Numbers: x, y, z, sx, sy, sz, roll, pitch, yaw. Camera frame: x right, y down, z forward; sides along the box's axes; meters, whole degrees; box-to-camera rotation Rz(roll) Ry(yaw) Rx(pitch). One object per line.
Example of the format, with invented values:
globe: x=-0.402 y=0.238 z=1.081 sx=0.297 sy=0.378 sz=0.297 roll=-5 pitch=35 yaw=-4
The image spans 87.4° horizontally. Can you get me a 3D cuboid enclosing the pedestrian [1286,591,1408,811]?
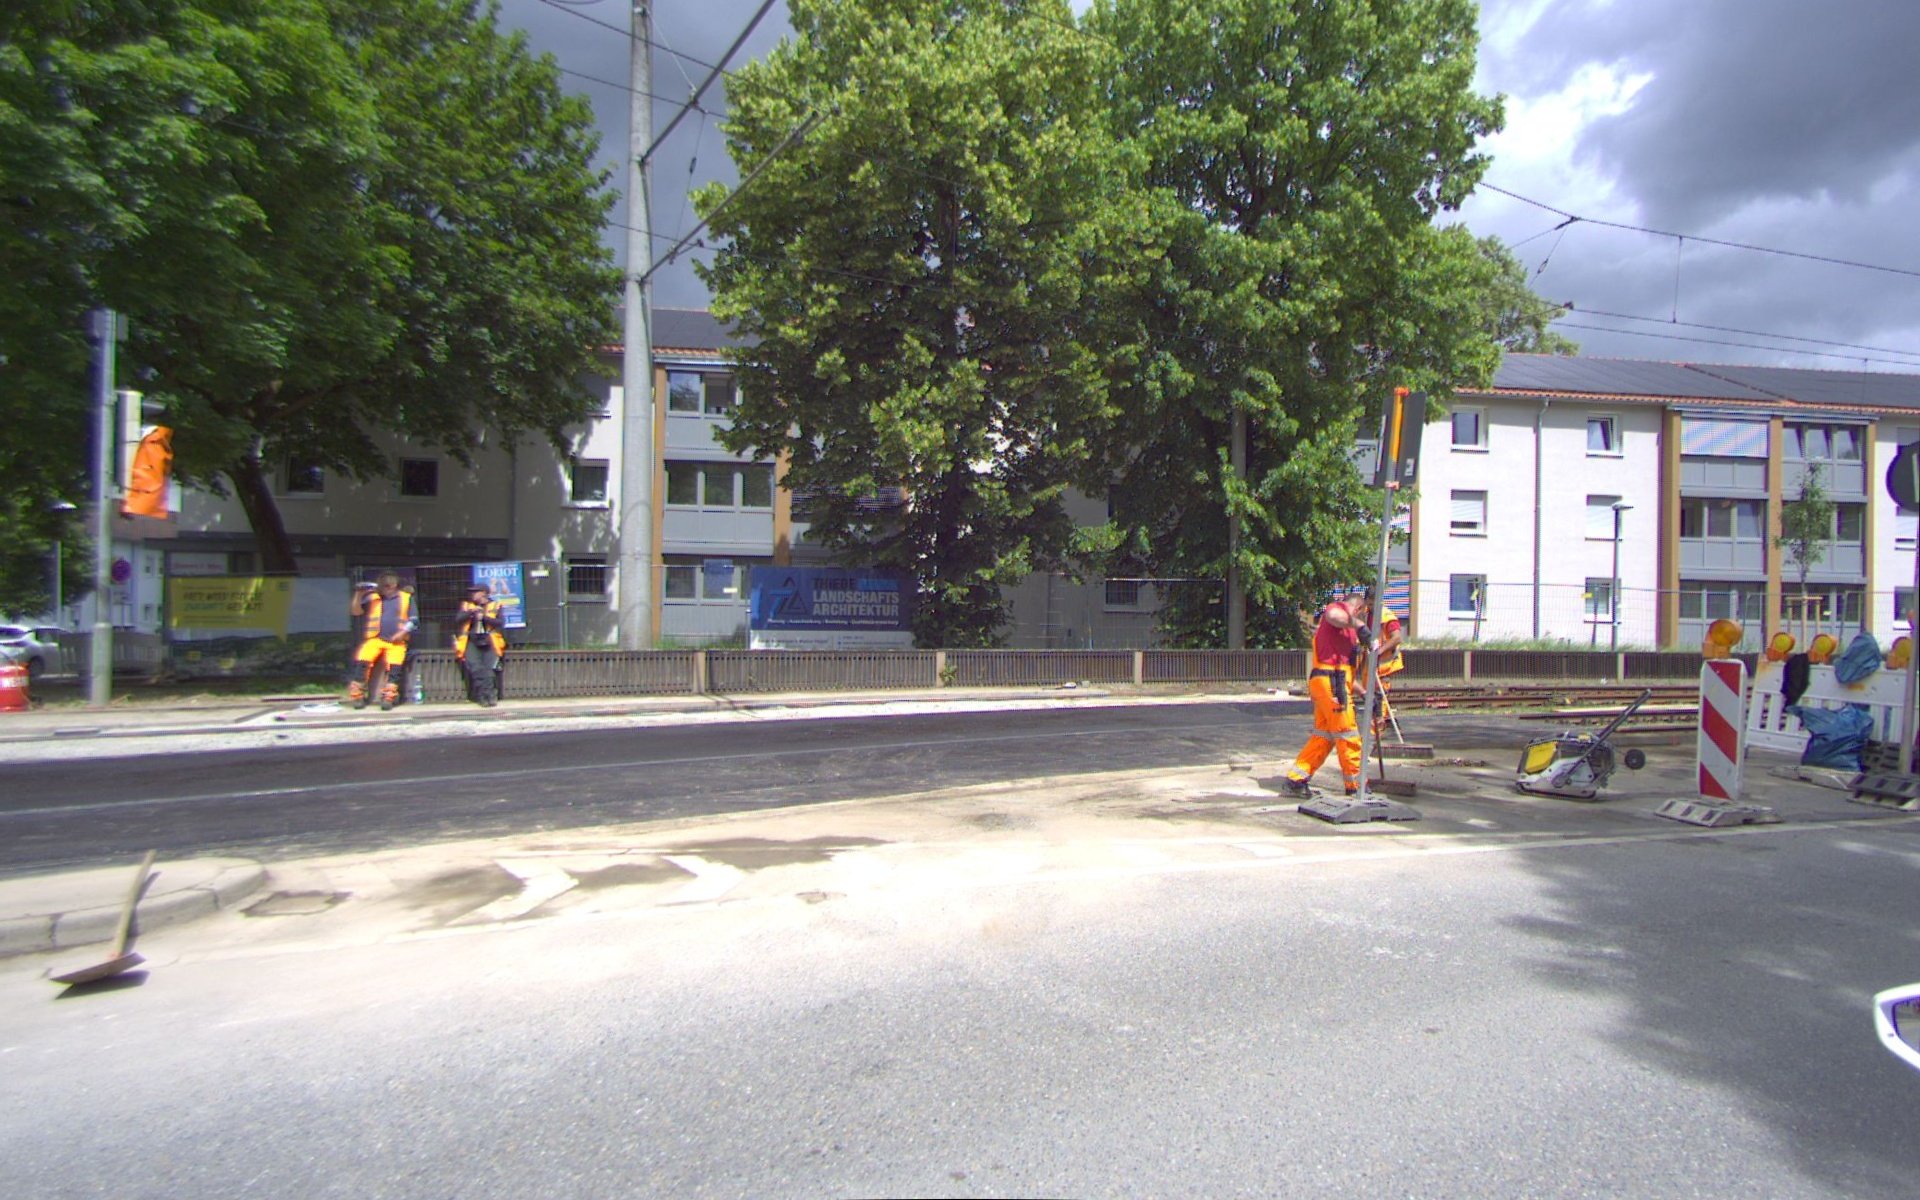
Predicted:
pedestrian: x=3.020 y=0.723 z=7.801 sx=0.751 sy=1.572 sz=0.899 roll=2 pitch=1 yaw=28

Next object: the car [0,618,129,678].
car: x=-24.477 y=1.240 z=26.696 sx=1.744 sy=1.478 sz=3.874 roll=1 pitch=-1 yaw=-5

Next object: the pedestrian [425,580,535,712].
pedestrian: x=-5.883 y=0.548 z=12.357 sx=0.889 sy=1.553 sz=0.842 roll=1 pitch=-1 yaw=6

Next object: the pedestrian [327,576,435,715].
pedestrian: x=-6.751 y=0.521 z=11.754 sx=0.747 sy=1.561 sz=0.799 roll=1 pitch=-1 yaw=6

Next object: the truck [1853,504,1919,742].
truck: x=14.337 y=0.324 z=11.916 sx=6.291 sy=2.762 sz=2.661 roll=1 pitch=1 yaw=-17

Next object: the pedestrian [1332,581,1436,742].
pedestrian: x=4.677 y=0.659 z=11.072 sx=0.821 sy=1.690 sz=0.699 roll=4 pitch=-1 yaw=-38
